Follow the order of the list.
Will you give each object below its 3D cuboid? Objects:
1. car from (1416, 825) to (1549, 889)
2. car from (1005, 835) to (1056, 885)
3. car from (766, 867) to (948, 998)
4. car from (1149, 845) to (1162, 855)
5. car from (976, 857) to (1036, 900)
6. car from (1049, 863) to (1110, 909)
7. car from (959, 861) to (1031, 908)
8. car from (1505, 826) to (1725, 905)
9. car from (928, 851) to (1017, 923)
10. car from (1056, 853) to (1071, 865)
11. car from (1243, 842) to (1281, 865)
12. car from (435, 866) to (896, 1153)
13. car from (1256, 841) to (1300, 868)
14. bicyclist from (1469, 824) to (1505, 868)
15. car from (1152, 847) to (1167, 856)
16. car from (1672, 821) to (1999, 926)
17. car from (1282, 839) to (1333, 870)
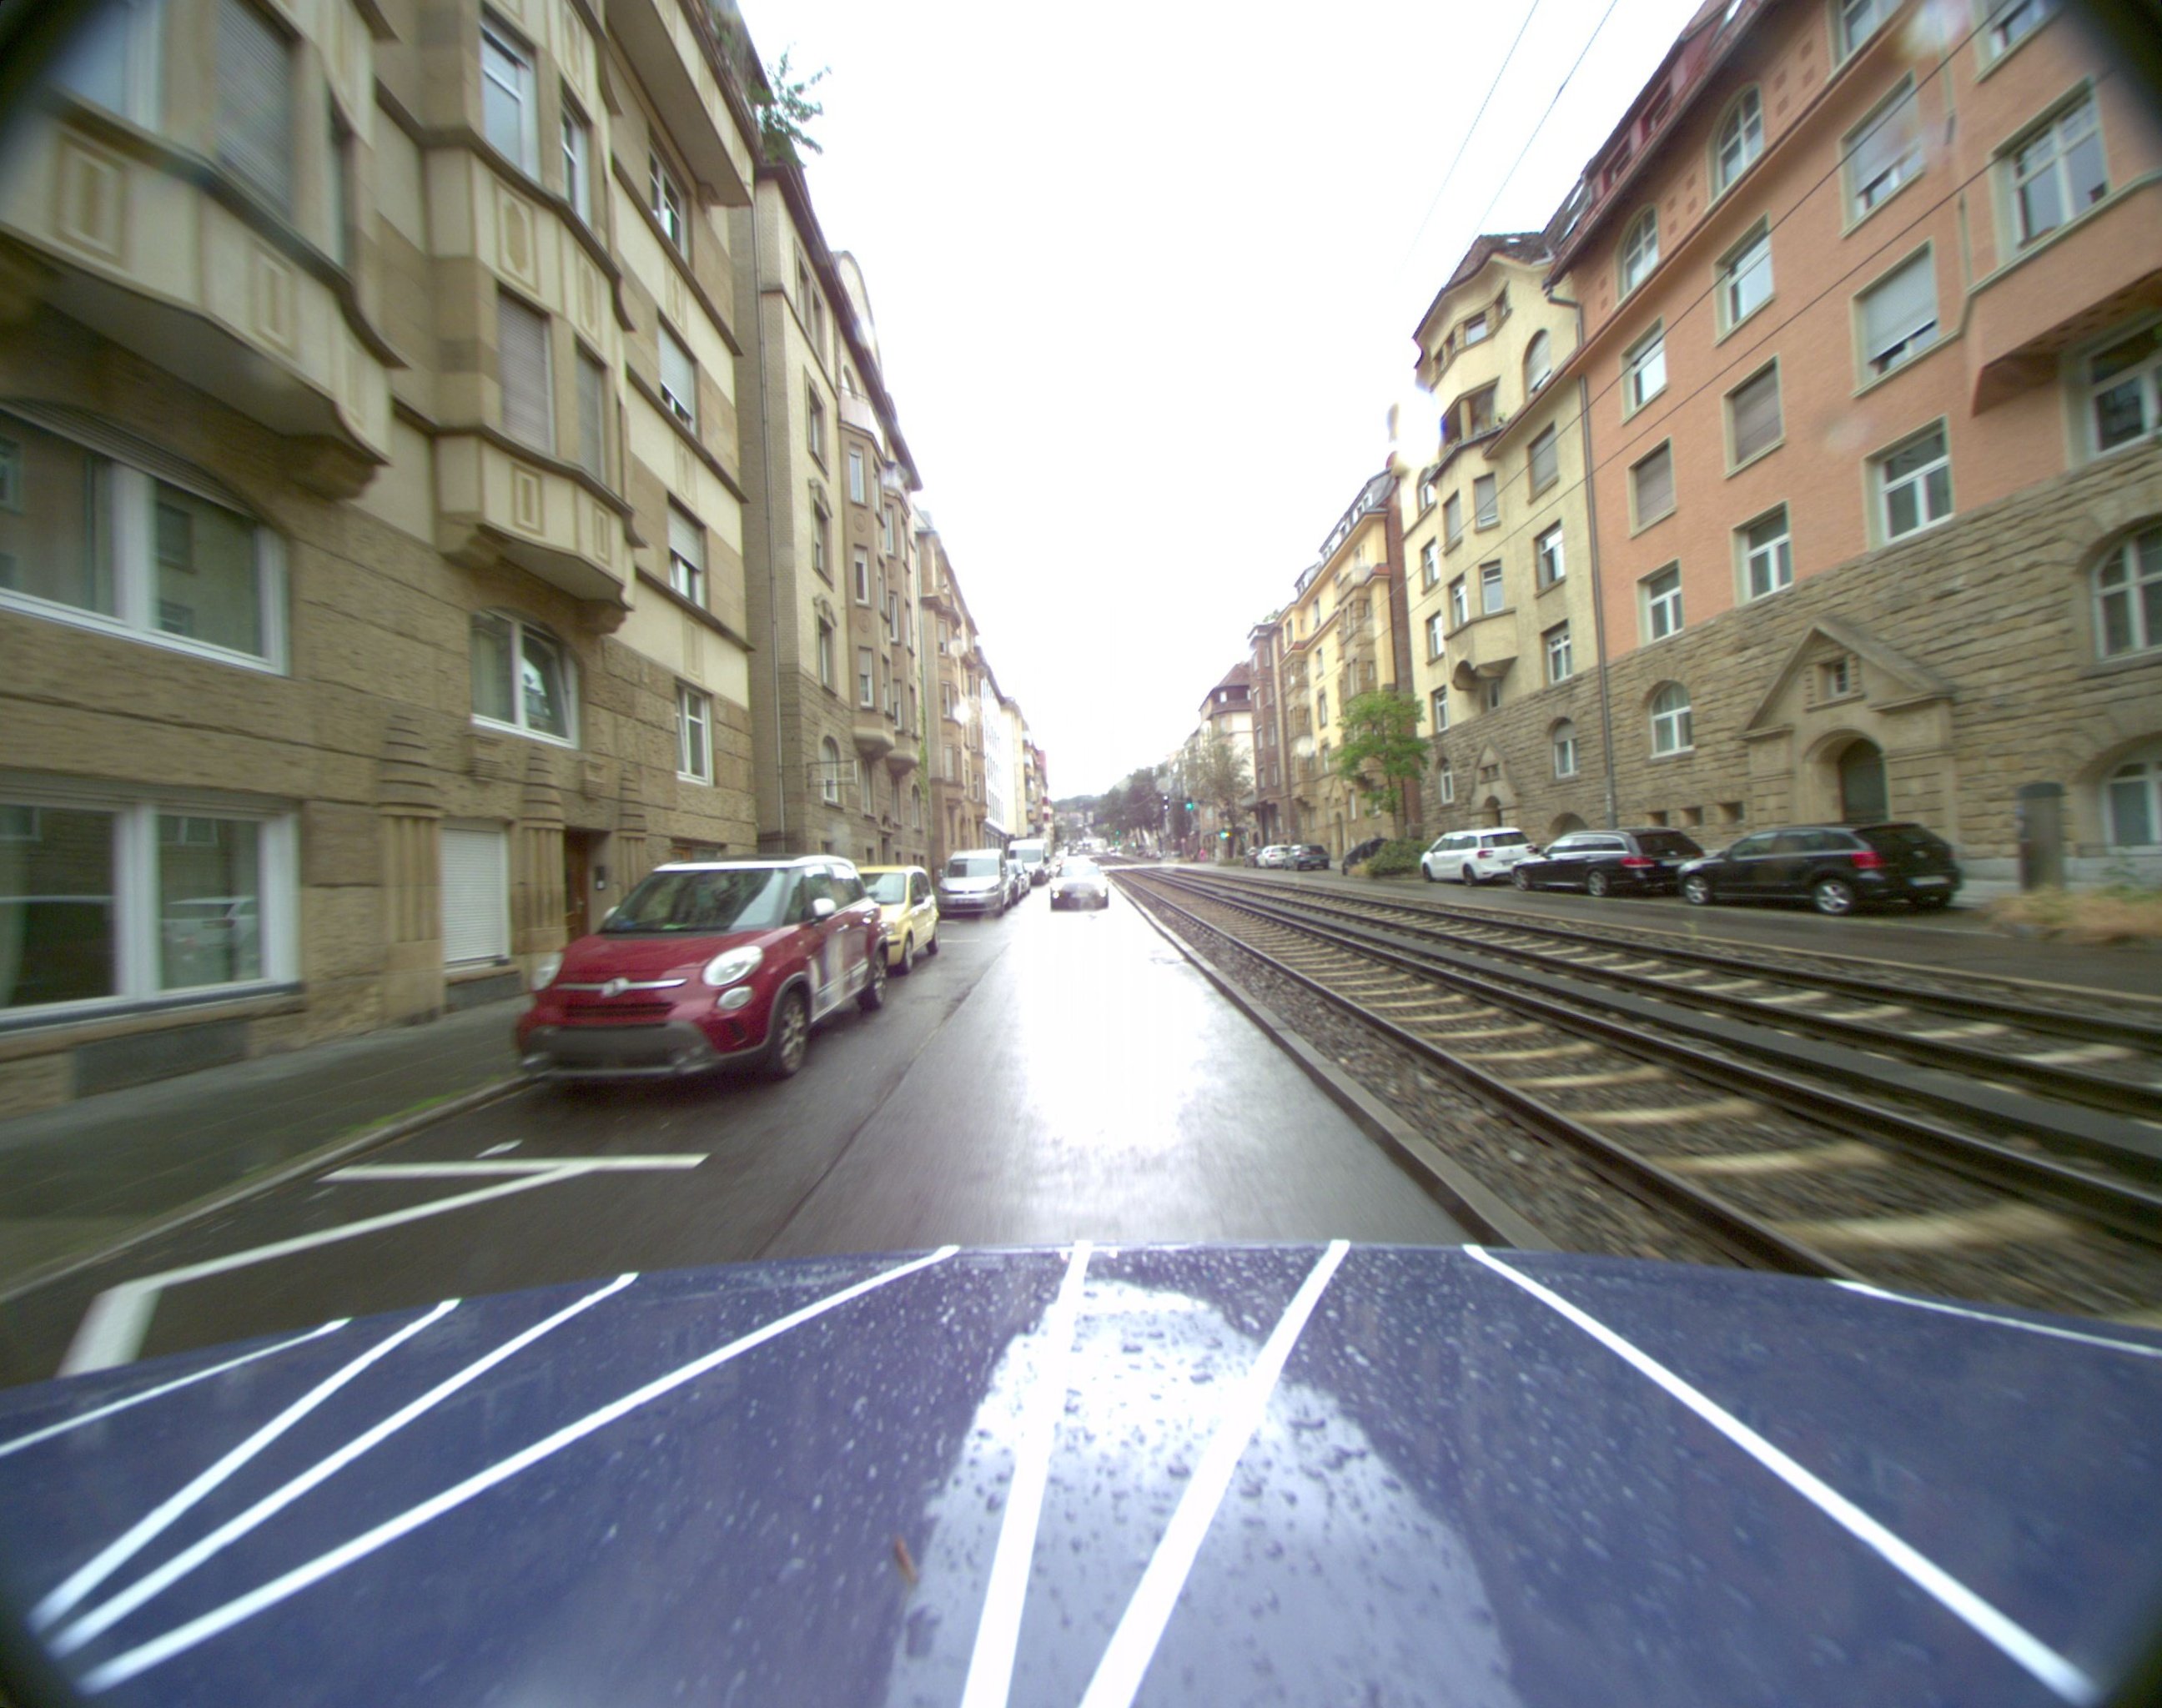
[{"bbox_3d":[12.240,0.064,23.512,1.759,1.663,4.259,-5,1,0],"label":"car"},{"bbox_3d":[-2.714,0.293,42.396,1.991,2.520,6.155,-3,0,3],"label":"car"},{"bbox_3d":[-3.165,1.030,11.447,1.632,1.502,3.531,-3,0,-1],"label":"car"},{"bbox_3d":[12.630,-0.746,129.584,1.794,1.609,4.257,-2,1,0],"label":"car"},{"bbox_3d":[-2.982,0.948,31.125,1.935,1.516,4.058,-3,0,1],"label":"car"},{"bbox_3d":[-0.015,0.945,23.989,1.737,1.262,4.258,-1,0,1],"label":"car"},{"bbox_3d":[-2.904,1.006,26.526,1.931,1.380,3.982,-3,0,1],"label":"car"},{"bbox_3d":[12.221,0.209,17.849,1.760,1.482,4.597,-5,1,-1],"label":"car"},{"bbox_3d":[-2.933,0.828,21.416,1.811,1.758,3.962,-3,0,1],"label":"car"},{"bbox_3d":[-2.368,0.656,101.202,1.794,1.459,4.257,-2,1,1],"label":"car"},{"bbox_3d":[12.549,-0.063,52.923,1.759,1.419,3.712,-5,1,2],"label":"car"},{"bbox_3d":[-2.973,0.969,6.562,1.774,1.592,3.999,-2,0,-1],"label":"car"},{"bbox_3d":[12.427,0.008,48.233,1.759,1.443,4.043,-5,1,2],"label":"car"},{"bbox_3d":[15.061,-0.288,28.213,0.894,1.592,0.774,-2,1,1],"label":"bicyclist"},{"bbox_3d":[12.224,-0.349,118.272,1.794,1.339,4.257,-2,1,0],"label":"car"},{"bbox_3d":[12.467,0.261,12.944,1.760,1.396,3.694,-5,1,-2],"label":"car"},{"bbox_3d":[12.490,0.015,42.171,1.717,1.473,3.712,-5,1,2],"label":"car"}]
